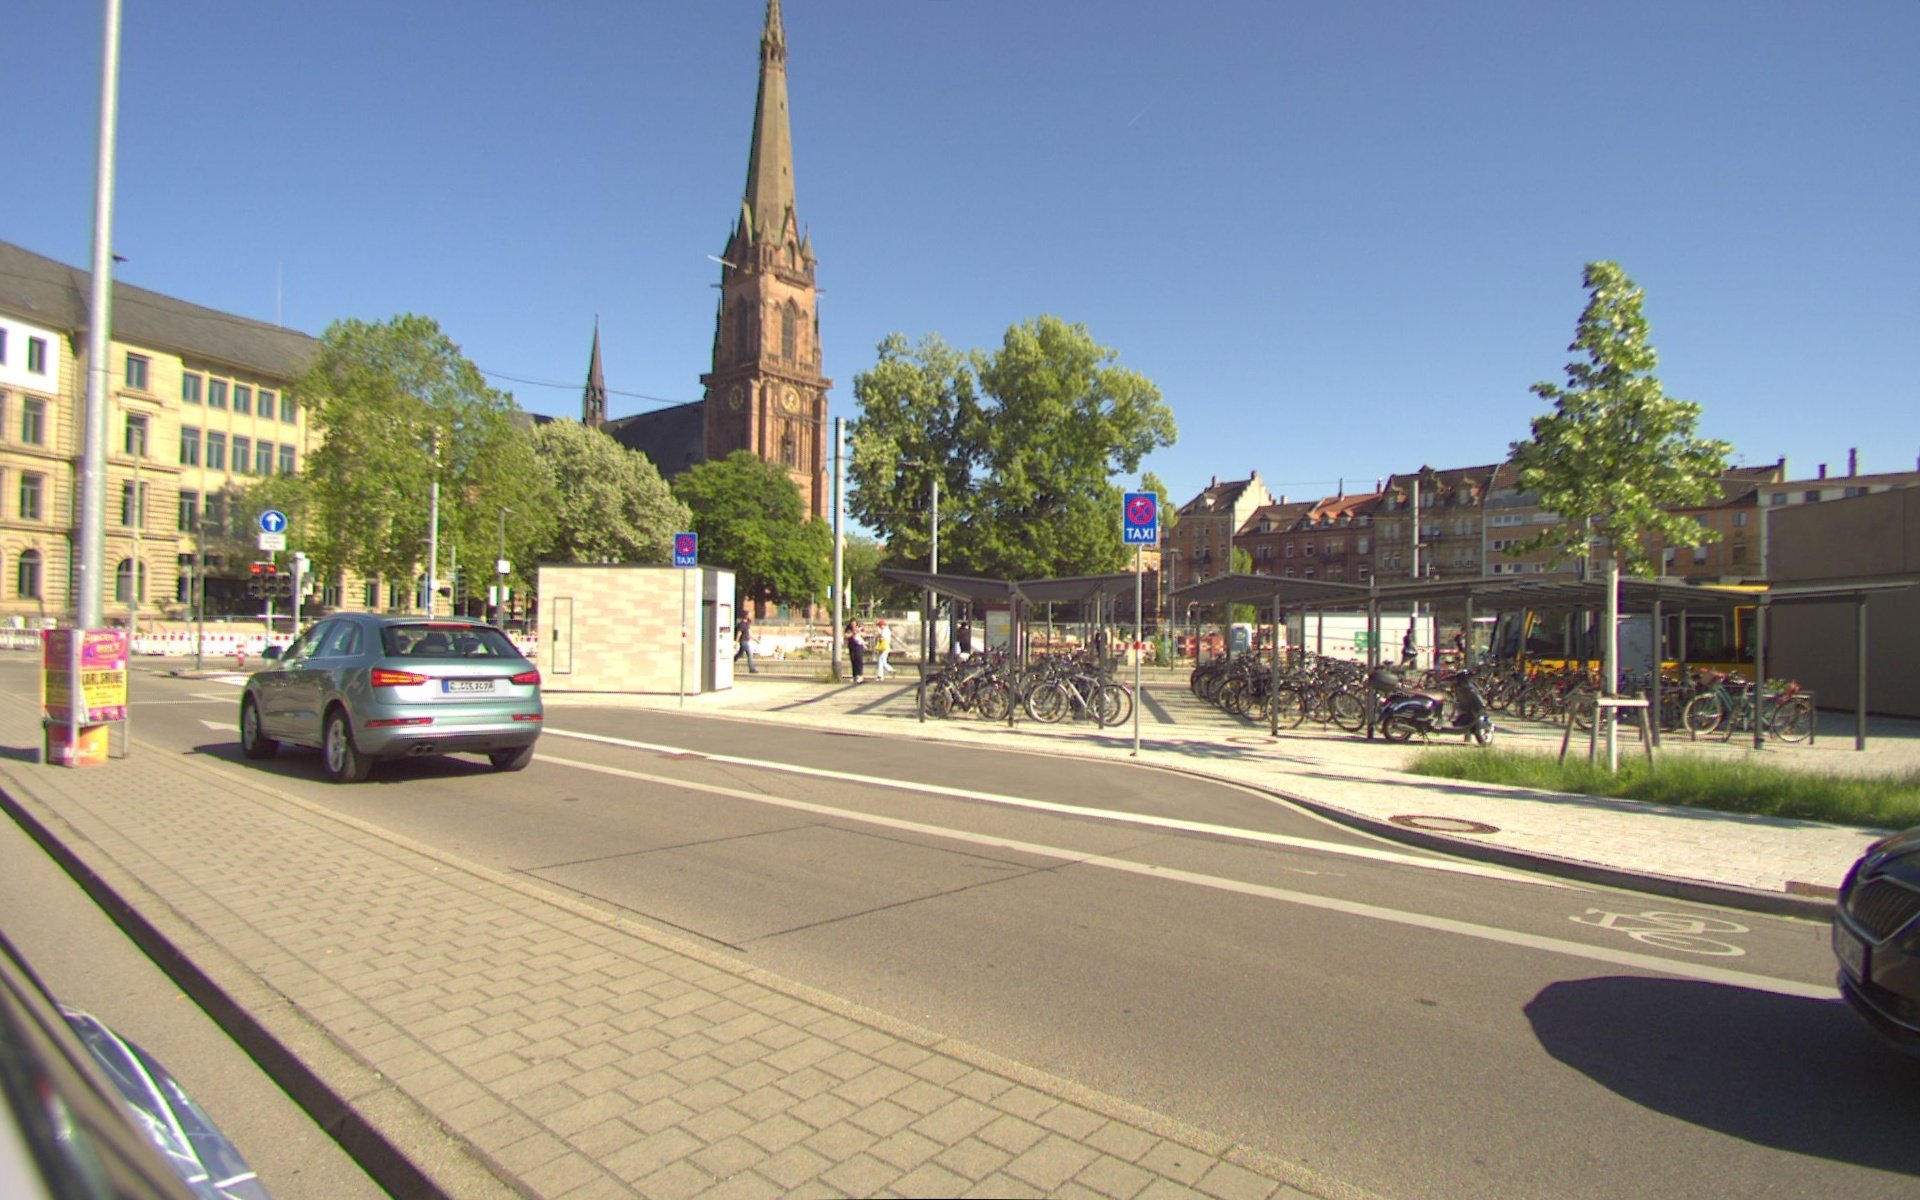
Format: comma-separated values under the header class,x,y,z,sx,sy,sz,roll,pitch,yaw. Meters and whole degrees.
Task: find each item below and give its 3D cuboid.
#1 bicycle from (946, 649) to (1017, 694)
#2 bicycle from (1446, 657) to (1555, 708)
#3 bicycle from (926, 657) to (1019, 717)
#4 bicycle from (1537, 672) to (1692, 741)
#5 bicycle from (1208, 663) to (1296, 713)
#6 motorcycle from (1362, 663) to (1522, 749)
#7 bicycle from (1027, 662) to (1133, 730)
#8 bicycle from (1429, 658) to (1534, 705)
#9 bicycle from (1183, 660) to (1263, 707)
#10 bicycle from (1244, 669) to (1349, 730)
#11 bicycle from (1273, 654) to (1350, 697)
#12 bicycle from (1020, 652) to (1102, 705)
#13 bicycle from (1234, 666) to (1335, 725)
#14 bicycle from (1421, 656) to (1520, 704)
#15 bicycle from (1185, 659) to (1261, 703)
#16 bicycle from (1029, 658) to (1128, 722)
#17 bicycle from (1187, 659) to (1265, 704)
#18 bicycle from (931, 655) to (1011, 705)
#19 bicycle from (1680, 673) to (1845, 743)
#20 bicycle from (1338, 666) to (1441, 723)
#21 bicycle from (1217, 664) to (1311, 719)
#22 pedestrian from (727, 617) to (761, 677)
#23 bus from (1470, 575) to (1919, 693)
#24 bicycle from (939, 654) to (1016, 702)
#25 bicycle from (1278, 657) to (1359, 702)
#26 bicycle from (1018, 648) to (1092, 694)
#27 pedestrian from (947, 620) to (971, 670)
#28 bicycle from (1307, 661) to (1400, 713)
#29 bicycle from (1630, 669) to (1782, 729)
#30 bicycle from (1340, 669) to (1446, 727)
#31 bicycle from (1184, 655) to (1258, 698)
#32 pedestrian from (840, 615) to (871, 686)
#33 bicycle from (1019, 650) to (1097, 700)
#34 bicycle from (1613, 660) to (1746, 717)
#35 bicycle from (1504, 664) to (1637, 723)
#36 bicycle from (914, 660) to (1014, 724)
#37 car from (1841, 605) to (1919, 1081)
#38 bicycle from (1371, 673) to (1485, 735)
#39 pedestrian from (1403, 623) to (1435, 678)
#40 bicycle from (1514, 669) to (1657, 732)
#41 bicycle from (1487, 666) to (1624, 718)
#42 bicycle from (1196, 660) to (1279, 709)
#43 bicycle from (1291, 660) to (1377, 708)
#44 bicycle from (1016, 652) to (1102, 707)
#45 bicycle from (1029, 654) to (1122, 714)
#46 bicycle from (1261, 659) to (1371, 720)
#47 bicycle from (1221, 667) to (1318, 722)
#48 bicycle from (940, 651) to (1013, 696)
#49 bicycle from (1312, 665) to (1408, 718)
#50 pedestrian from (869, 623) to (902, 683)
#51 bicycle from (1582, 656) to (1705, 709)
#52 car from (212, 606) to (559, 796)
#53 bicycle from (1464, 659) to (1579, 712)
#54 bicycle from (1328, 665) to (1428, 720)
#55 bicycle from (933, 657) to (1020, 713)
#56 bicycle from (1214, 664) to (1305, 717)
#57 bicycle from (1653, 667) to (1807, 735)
class,x,y,z,sx,sy,sz,roll,pitch,yaw
bicycle,0.516,1.702,24.187,1.663,1.006,0.406,0,0,8
bicycle,11.864,1.802,22.255,2.048,1.045,0.533,-1,2,8
bicycle,0.230,1.597,18.601,1.663,1.006,0.406,2,0,8
bicycle,10.571,1.711,16.389,2.048,1.045,0.533,-1,0,8
bicycle,5.923,1.785,20.564,1.661,0.980,0.406,1,-5,3
motorcycle,7.192,1.571,15.159,2.059,1.228,0.569,-1,-2,3
bicycle,2.020,1.606,17.092,1.753,1.083,0.406,1,-3,6
bicycle,12.029,1.880,23.374,2.048,1.045,0.533,-1,-4,8
bicycle,5.784,1.837,22.296,1.661,0.980,0.406,1,-5,3
bicycle,5.792,1.710,17.463,1.661,0.980,0.406,1,0,3
bicycle,8.290,1.785,23.915,1.661,0.980,0.406,-1,0,3
bicycle,2.191,1.694,22.028,1.755,1.083,0.406,1,0,6
bicycle,5.814,1.710,18.188,1.661,0.980,0.406,1,0,3
bicycle,12.298,1.920,24.429,2.048,1.045,0.533,1,3,8
bicycle,6.135,1.881,23.624,1.661,0.980,0.406,1,-5,3
bicycle,2.138,1.617,18.337,1.753,1.083,0.406,1,0,6
bicycle,6.051,1.860,23.051,1.661,0.980,0.406,1,-5,3
bicycle,0.228,1.676,21.404,1.663,1.006,0.406,0,0,8
bicycle,12.765,1.715,16.138,2.048,1.045,0.533,-1,0,8
bicycle,7.821,1.723,18.460,1.661,0.980,0.406,-1,0,3
bicycle,5.812,1.737,19.375,1.661,0.980,0.406,1,0,3
pedestrian,-6.291,1.368,29.538,0.823,1.740,0.620,0,-2,4
bus,22.093,0.934,28.631,13.462,3.095,2.859,0,-2,6
bicycle,0.383,1.705,22.284,1.663,1.006,0.406,0,0,8
bicycle,8.071,1.788,22.838,1.661,0.980,0.406,-1,0,3
bicycle,2.312,1.723,24.677,1.755,1.083,0.406,1,0,6
pedestrian,-0.028,1.729,38.954,0.610,1.874,0.703,2,-2,-39
bicycle,7.856,1.730,20.229,1.661,0.980,0.406,-1,0,3
bicycle,13.477,1.781,18.329,2.117,1.005,0.690,-1,0,7
bicycle,7.641,1.725,17.892,1.661,0.980,0.406,-1,0,3
bicycle,6.254,1.836,24.311,1.661,0.980,0.406,1,-5,3
pedestrian,-2.797,1.341,27.211,0.614,1.874,0.699,0,-2,14
bicycle,2.271,1.731,23.498,1.755,1.083,0.406,1,0,6
bicycle,13.851,1.700,19.525,2.048,1.045,0.533,-1,0,8
bicycle,11.320,1.733,18.812,2.048,1.045,0.533,-1,0,8
bicycle,0.066,1.574,17.382,1.663,1.006,0.406,2,0,8
car,5.124,0.764,2.038,4.768,1.516,1.800,-1,-4,32
bicycle,7.766,1.724,16.821,1.661,0.980,0.406,-1,0,3
pedestrian,16.391,1.782,36.176,0.793,1.931,0.769,0,-2,4
bicycle,10.879,1.740,17.652,2.048,1.045,0.533,-1,0,8
bicycle,11.612,1.799,19.790,2.208,0.951,0.685,-1,0,7
bicycle,5.924,1.806,21.640,1.661,0.980,0.406,1,-5,3
bicycle,7.987,1.790,21.623,1.661,0.980,0.406,-1,0,3
bicycle,2.051,1.643,20.973,1.755,1.083,0.406,1,0,6
bicycle,2.234,1.620,19.582,1.755,1.083,0.406,1,0,6
bicycle,5.929,1.487,16.890,1.661,0.980,0.406,-1,0,3
bicycle,5.727,1.750,18.768,1.661,0.980,0.406,-1,0,3
bicycle,0.391,1.701,23.662,1.663,1.006,0.406,0,0,8
bicycle,7.715,1.763,19.529,1.661,0.980,0.406,-1,0,3
pedestrian,-2.046,1.456,27.912,0.697,1.635,0.616,0,-2,22
bicycle,14.076,1.697,20.877,2.048,1.045,0.533,-1,0,8
car,-6.130,0.932,10.597,4.255,1.594,1.769,-1,-4,41
bicycle,11.774,1.795,21.264,2.048,1.045,0.533,-1,2,8
bicycle,7.840,1.731,19.013,1.661,0.980,0.406,-1,0,3
bicycle,0.326,1.664,19.945,1.663,1.006,0.406,2,0,8
bicycle,5.900,1.781,19.958,1.661,0.980,0.406,1,0,3
bicycle,12.987,1.697,17.115,2.030,1.087,0.604,-1,0,7
